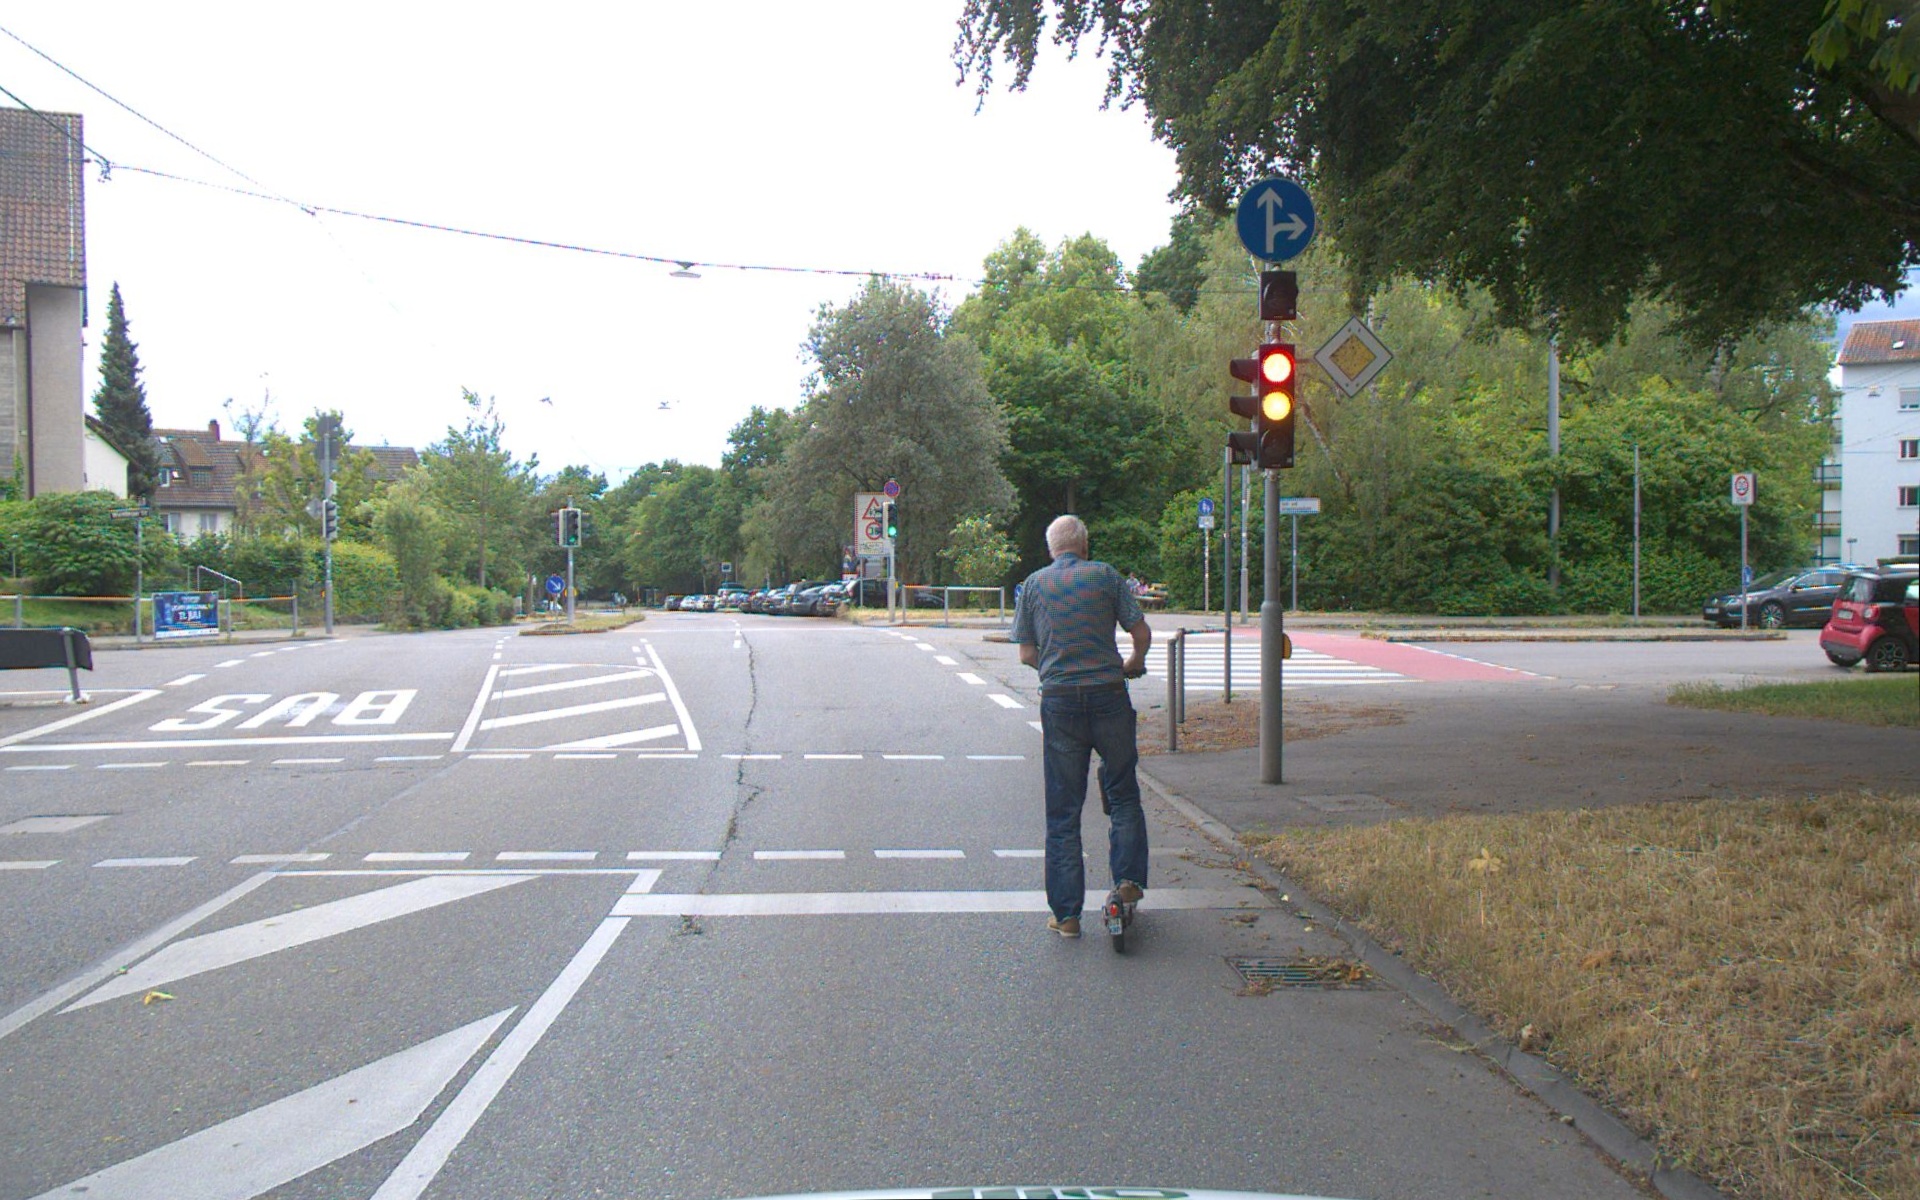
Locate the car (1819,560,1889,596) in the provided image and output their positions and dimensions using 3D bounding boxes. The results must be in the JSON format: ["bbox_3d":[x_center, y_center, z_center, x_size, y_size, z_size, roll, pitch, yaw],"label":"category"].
[{"bbox_3d":[40.432,-0.977,74.909,1.888,1.572,4.067,0,0,15],"label":"car"}]

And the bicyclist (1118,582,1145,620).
[{"bbox_3d":[5.740,0.017,55.224,0.627,1.181,0.802,2,5,30],"label":"bicyclist"}]

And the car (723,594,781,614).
[{"bbox_3d":[-15.291,0.292,121.699,3.917,1.430,1.741,0,-1,-27],"label":"car"}]

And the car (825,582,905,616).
[{"bbox_3d":[-4.305,-0.038,74.685,3.278,1.490,1.625,0,-1,-21],"label":"car"}]

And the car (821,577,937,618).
[{"bbox_3d":[-3.044,-0.103,62.151,4.079,1.502,1.565,0,-1,-23],"label":"car"}]

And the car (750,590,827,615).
[{"bbox_3d":[-10.255,0.157,98.809,4.291,1.471,1.620,0,0,-27],"label":"car"}]

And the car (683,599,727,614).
[{"bbox_3d":[-24.388,0.627,158.304,3.855,1.332,1.721,0,-1,-37],"label":"car"}]

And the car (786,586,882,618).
[{"bbox_3d":[-5.823,0.088,76.419,4.103,1.431,1.686,0,-1,-23],"label":"car"}]

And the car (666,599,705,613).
[{"bbox_3d":[-29.197,0.684,175.984,3.847,1.454,1.725,0,-1,-32],"label":"car"}]

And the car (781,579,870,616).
[{"bbox_3d":[-6.423,-0.111,79.062,3.929,1.755,1.670,0,-1,-22],"label":"car"}]

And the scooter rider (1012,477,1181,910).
[{"bbox_3d":[0.571,0.362,7.301,0.667,1.760,1.197,0,2,1],"label":"scooter rider"}]

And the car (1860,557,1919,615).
[{"bbox_3d":[26.224,-0.383,45.419,1.763,1.513,3.673,0,0,14],"label":"car"}]

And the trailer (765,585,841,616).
[{"bbox_3d":[-8.209,0.040,86.421,3.639,1.562,1.634,0,0,-24],"label":"trailer"}]

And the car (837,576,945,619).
[{"bbox_3d":[-2.496,-0.099,59.614,3.653,1.502,1.570,0,0,-15],"label":"car"}]

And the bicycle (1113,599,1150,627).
[{"bbox_3d":[5.738,0.429,55.249,0.627,0.771,1.678,2,5,30],"label":"bicycle"}]

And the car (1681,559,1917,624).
[{"bbox_3d":[19.855,-0.229,39.254,4.694,1.464,2.036,0,1,-7],"label":"car"}]

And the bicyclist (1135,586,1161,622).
[{"bbox_3d":[6.438,0.130,56.699,0.508,1.208,0.965,-2,-1,32],"label":"bicyclist"}]

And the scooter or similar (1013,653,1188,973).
[{"bbox_3d":[0.573,0.858,7.202,0.667,1.159,1.460,0,2,1],"label":"scooter or similar"}]

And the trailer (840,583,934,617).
[{"bbox_3d":[-2.876,0.003,65.095,3.354,1.289,1.606,0,-1,-22],"label":"trailer"}]

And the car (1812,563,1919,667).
[{"bbox_3d":[15.015,0.210,25.539,2.850,1.532,1.697,0,2,3],"label":"car"}]

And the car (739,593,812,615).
[{"bbox_3d":[-11.614,0.244,104.082,4.259,1.364,1.719,0,-1,-26],"label":"car"}]

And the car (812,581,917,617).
[{"bbox_3d":[-4.034,-0.064,69.838,4.158,1.490,1.625,0,0,-21],"label":"car"}]

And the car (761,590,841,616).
[{"bbox_3d":[-8.531,0.149,88.755,3.979,1.351,1.549,0,-1,-21],"label":"car"}]

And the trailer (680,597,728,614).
[{"bbox_3d":[-24.088,0.497,155.627,4.113,1.601,1.694,0,-1,-32],"label":"trailer"}]
